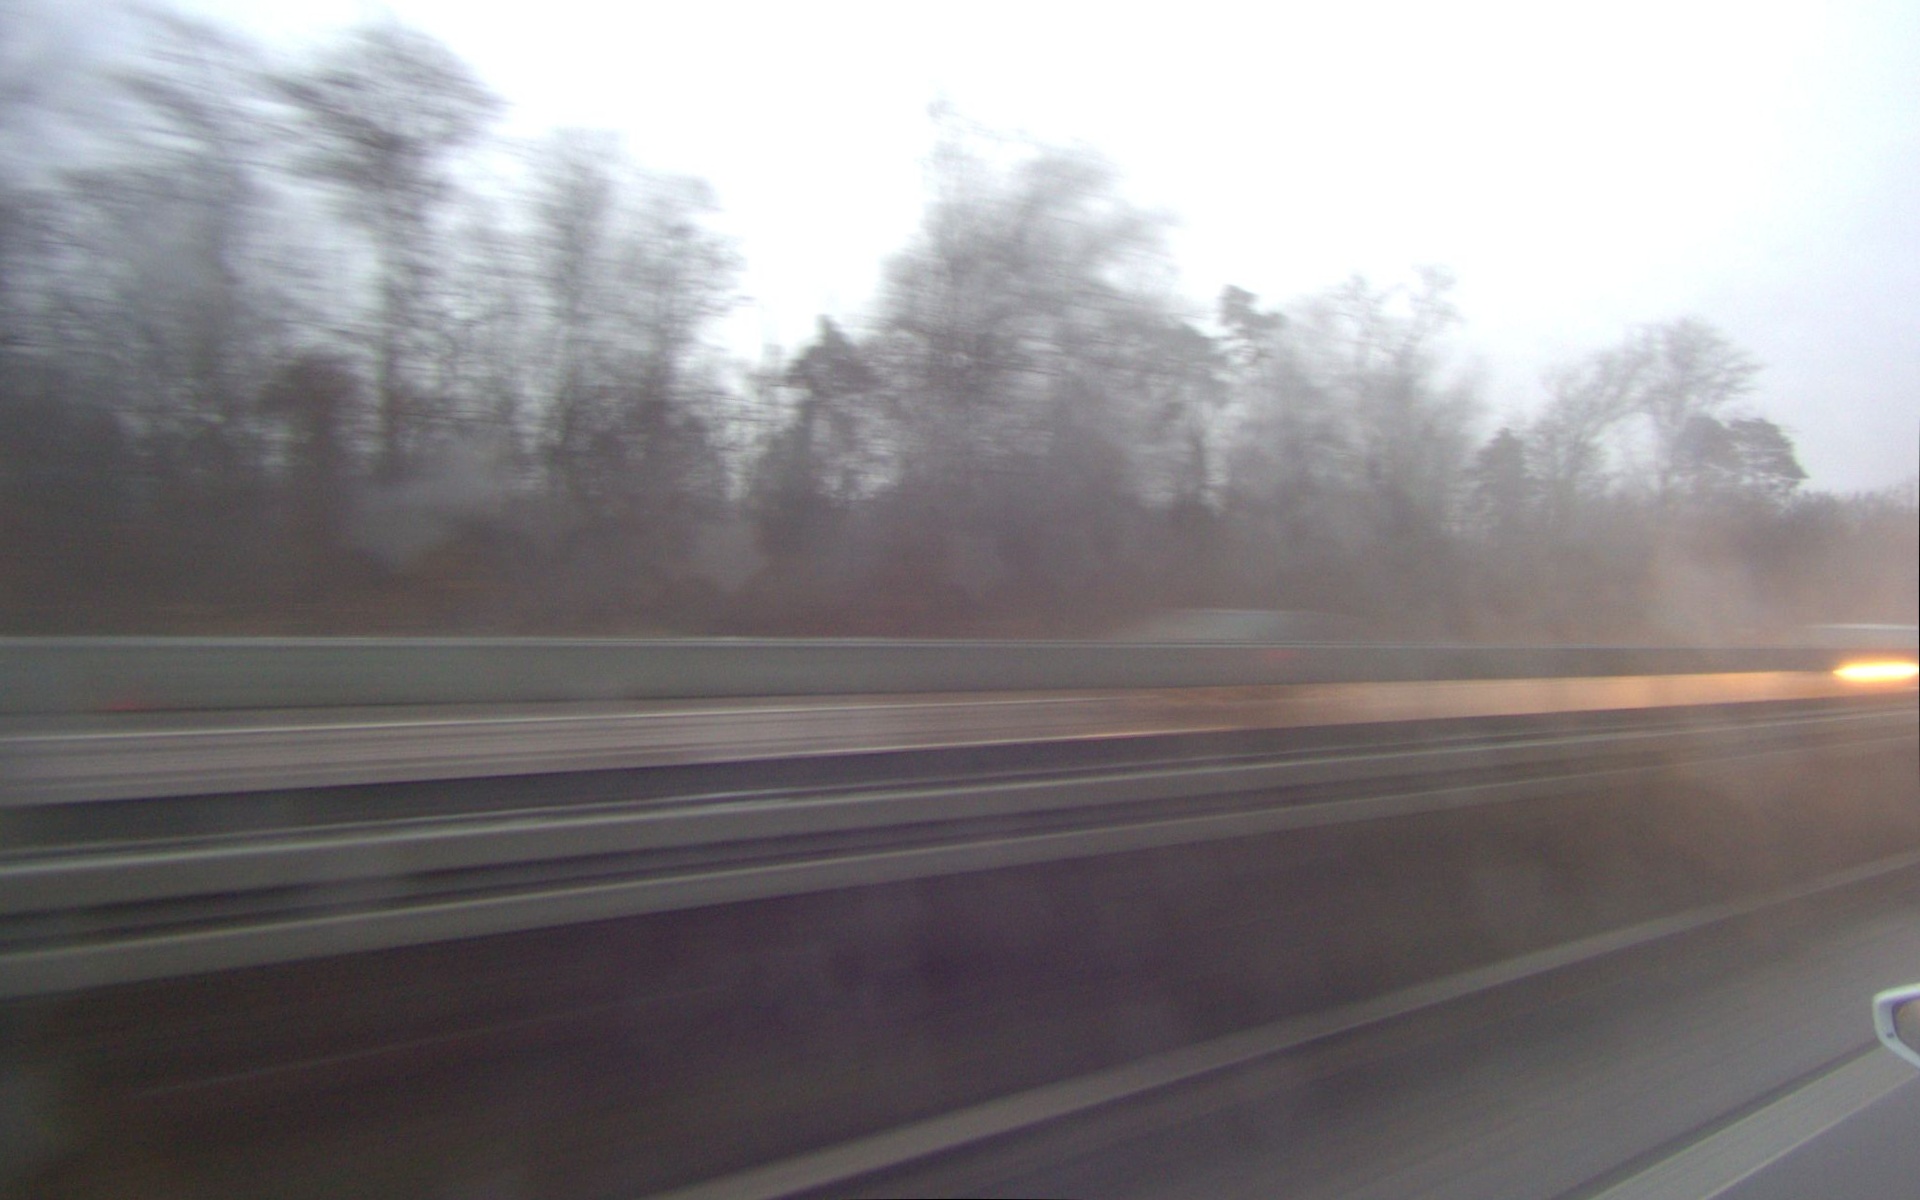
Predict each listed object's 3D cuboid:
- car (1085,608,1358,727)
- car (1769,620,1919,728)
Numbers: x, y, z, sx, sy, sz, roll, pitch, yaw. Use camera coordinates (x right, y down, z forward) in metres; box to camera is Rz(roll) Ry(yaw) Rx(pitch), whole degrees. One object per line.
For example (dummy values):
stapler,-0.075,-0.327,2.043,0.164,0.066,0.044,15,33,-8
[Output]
car,3.841,0.963,14.650,3.662,1.437,1.730,3,1,-31
car,15.767,1.222,17.487,3.596,1.678,1.460,1,0,-31
